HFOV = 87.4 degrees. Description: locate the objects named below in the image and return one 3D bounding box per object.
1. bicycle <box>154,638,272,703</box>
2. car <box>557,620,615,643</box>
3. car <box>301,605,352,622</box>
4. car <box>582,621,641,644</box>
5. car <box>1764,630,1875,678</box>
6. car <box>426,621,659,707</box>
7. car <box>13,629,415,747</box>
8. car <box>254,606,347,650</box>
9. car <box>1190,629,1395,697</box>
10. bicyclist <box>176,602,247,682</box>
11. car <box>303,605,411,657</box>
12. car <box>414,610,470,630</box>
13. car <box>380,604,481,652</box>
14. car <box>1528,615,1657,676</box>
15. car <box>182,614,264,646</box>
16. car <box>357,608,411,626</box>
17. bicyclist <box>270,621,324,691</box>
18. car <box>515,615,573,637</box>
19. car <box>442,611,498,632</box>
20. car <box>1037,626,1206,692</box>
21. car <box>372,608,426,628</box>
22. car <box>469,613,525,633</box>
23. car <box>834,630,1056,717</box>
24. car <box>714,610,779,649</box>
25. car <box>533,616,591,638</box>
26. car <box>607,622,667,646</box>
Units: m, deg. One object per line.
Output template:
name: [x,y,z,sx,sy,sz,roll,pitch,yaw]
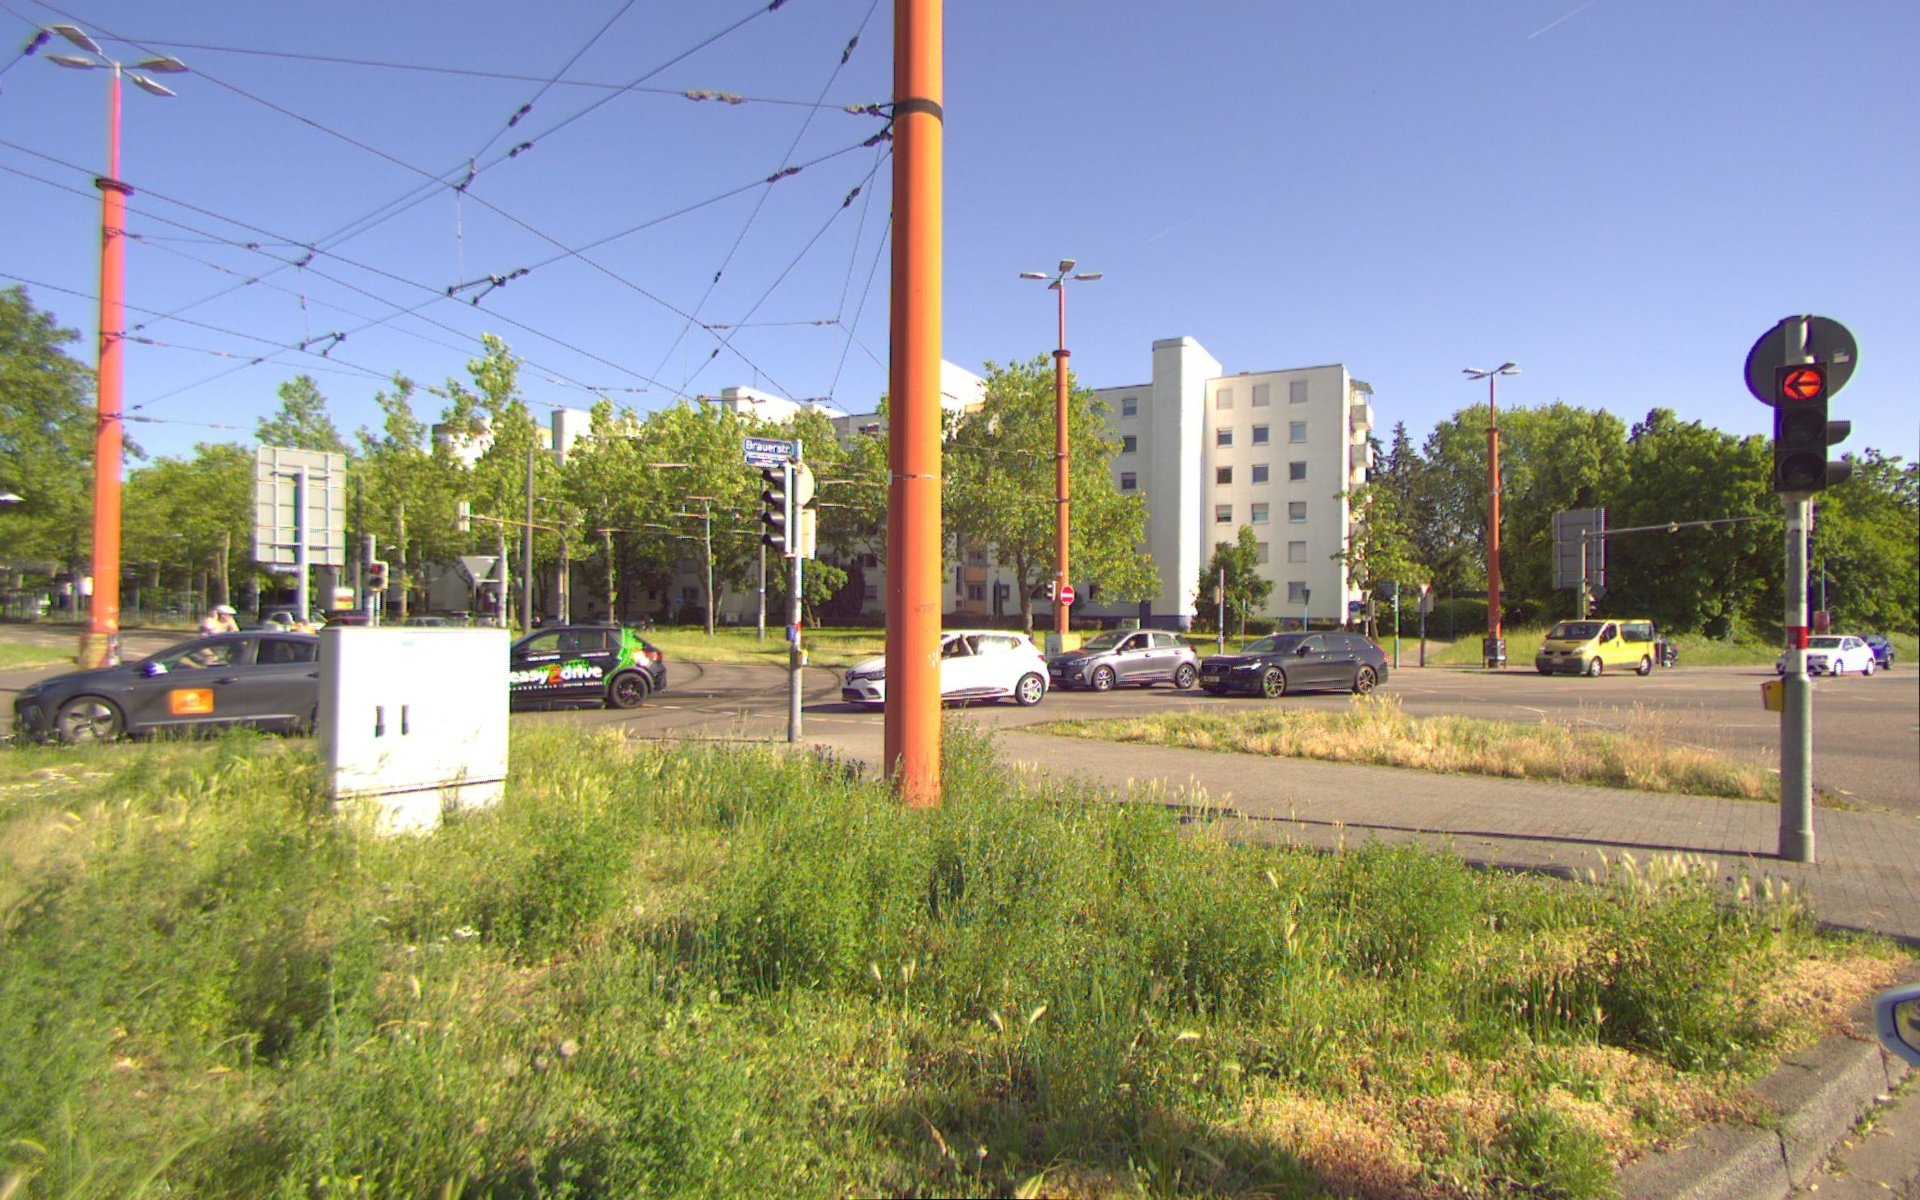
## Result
bicycle: [-14.133,1.313,18.992,2.313,1.095,0.474,1,0,17]
car: [-28.139,2.346,75.678,3.934,1.617,1.890,2,0,-15]
car: [-63.543,1.368,100.833,3.934,1.617,1.890,2,0,-15]
car: [-25.676,2.402,74.217,3.934,1.617,1.890,2,0,-15]
car: [30.981,1.938,36.195,3.950,1.617,1.697,2,0,-28]
car: [-7.719,1.162,18.646,3.838,1.452,1.538,2,-3,-29]
car: [-9.885,1.123,13.772,4.211,1.395,1.541,1,-1,-30]
car: [-29.042,1.225,44.224,3.929,1.773,1.909,1,0,31]
car: [7.543,1.372,22.645,4.737,1.386,1.622,1,-1,-29]
bicyclist: [-14.141,0.779,18.987,0.742,1.449,0.752,1,0,17]
car: [-24.292,1.213,40.444,4.200,1.926,1.996,1,0,31]
car: [-45.134,1.764,87.628,3.934,1.617,1.890,2,0,-15]
car: [-23.026,1.183,43.664,4.200,1.926,1.996,1,0,31]
car: [22.378,1.613,35.501,4.730,2.013,1.750,2,0,-29]
car: [-34.772,1.399,47.347,3.930,1.339,1.732,1,0,31]
car: [-53.672,1.579,93.671,3.934,1.617,1.890,2,0,-15]
bicyclist: [-13.133,1.090,19.916,0.686,1.340,0.549,1,0,16]
car: [-32.861,2.033,79.409,3.934,1.617,1.890,2,0,-15]
car: [-41.764,1.840,85.652,3.934,1.617,1.890,2,0,-15]
car: [4.003,1.419,24.794,3.952,1.484,1.688,1,-1,-30]
car: [-50.999,1.633,91.390,3.934,1.617,1.890,2,0,-15]
car: [-38.565,1.913,83.770,3.934,1.617,1.890,2,0,-15]
car: [-0.245,1.329,18.923,3.903,1.478,1.598,1,-1,-30]
car: [-13.846,1.896,65.038,3.934,2.341,1.889,2,0,-15]
car: [-30.781,2.076,77.765,3.934,1.617,1.890,2,0,-15]
car: [-23.187,2.453,72.238,3.934,1.617,1.890,2,0,-15]
